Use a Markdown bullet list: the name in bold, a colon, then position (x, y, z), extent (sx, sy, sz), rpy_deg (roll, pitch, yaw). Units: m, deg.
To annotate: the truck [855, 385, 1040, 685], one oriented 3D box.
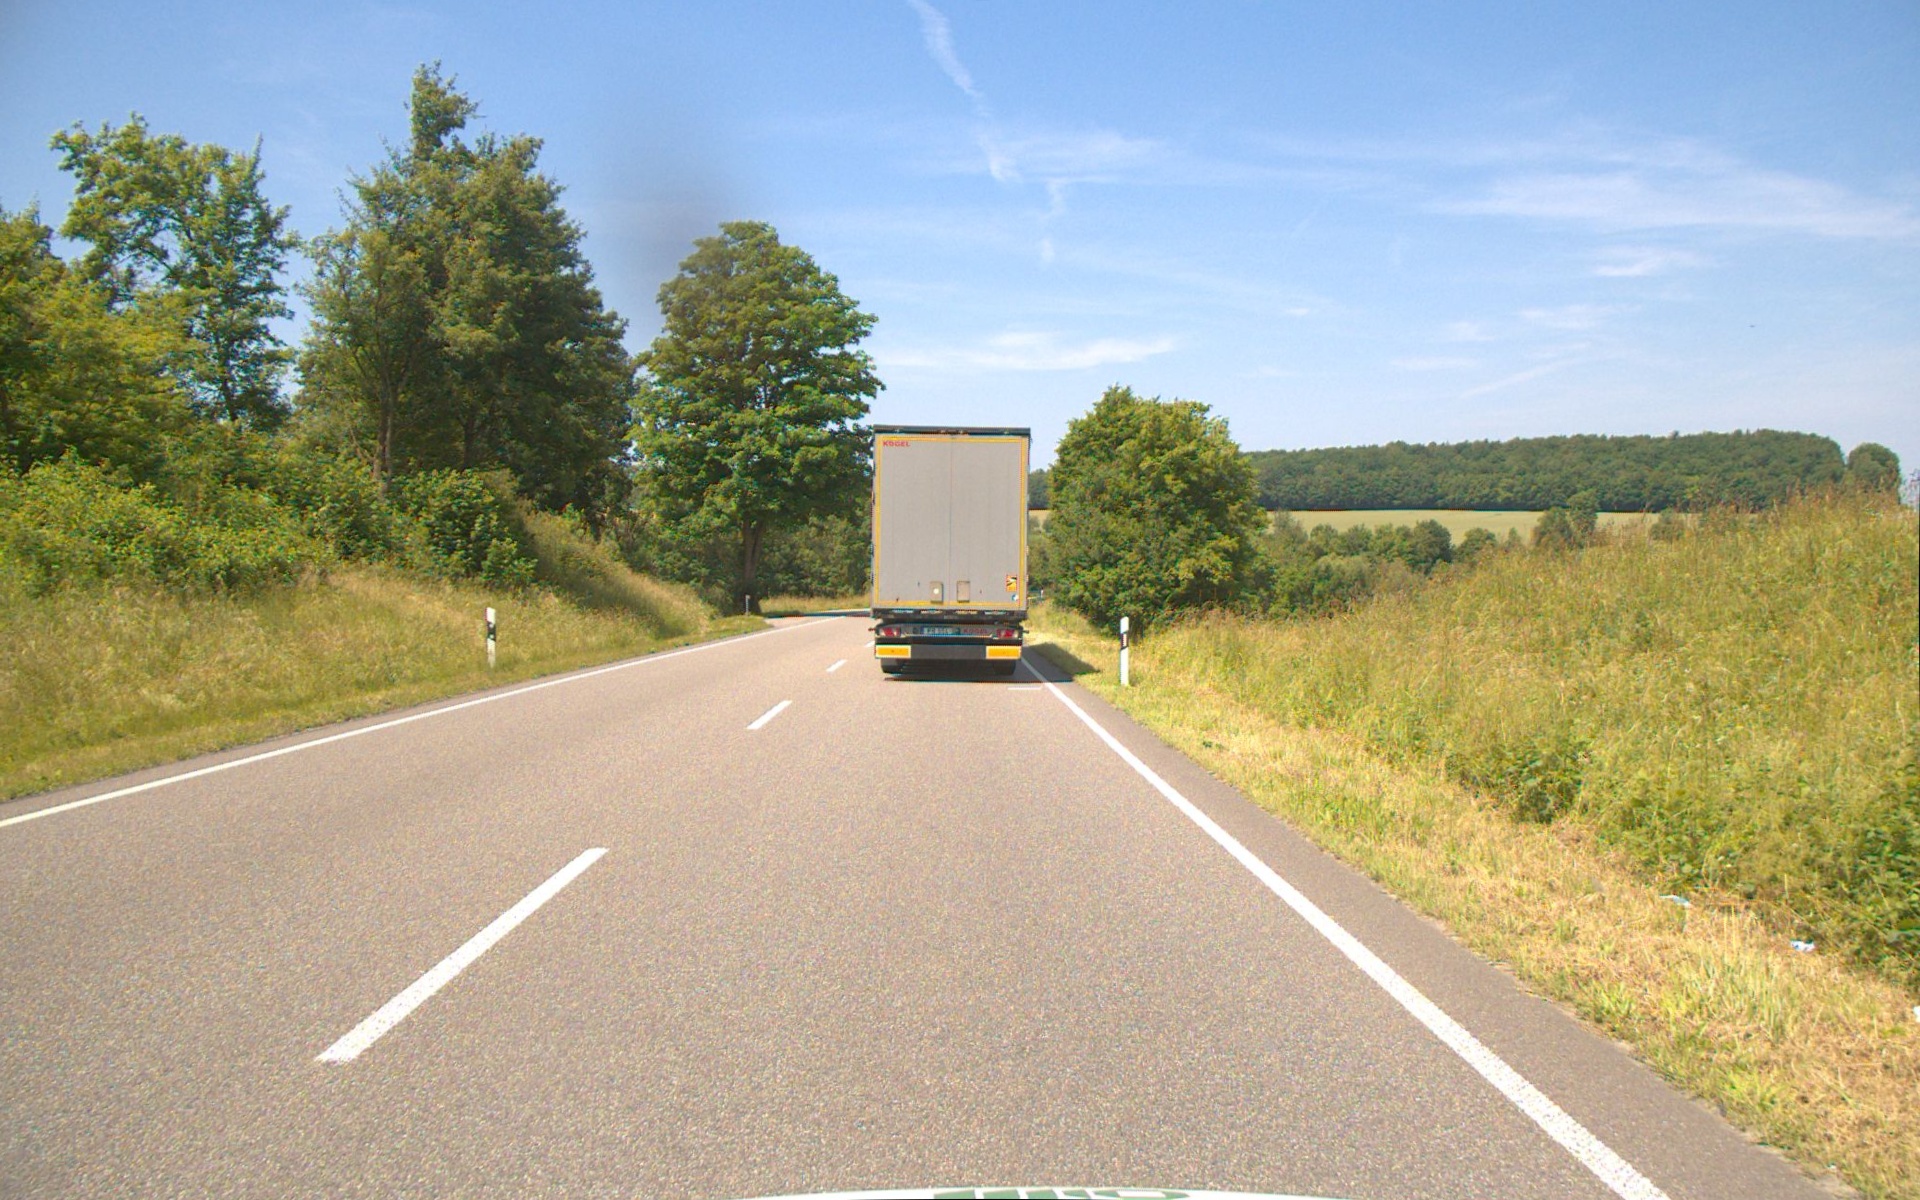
- **truck**: position (-0.248, -1.079, 31.932), extent (2.760, 4.611, 11.766), rpy_deg (2, 1, -1)
